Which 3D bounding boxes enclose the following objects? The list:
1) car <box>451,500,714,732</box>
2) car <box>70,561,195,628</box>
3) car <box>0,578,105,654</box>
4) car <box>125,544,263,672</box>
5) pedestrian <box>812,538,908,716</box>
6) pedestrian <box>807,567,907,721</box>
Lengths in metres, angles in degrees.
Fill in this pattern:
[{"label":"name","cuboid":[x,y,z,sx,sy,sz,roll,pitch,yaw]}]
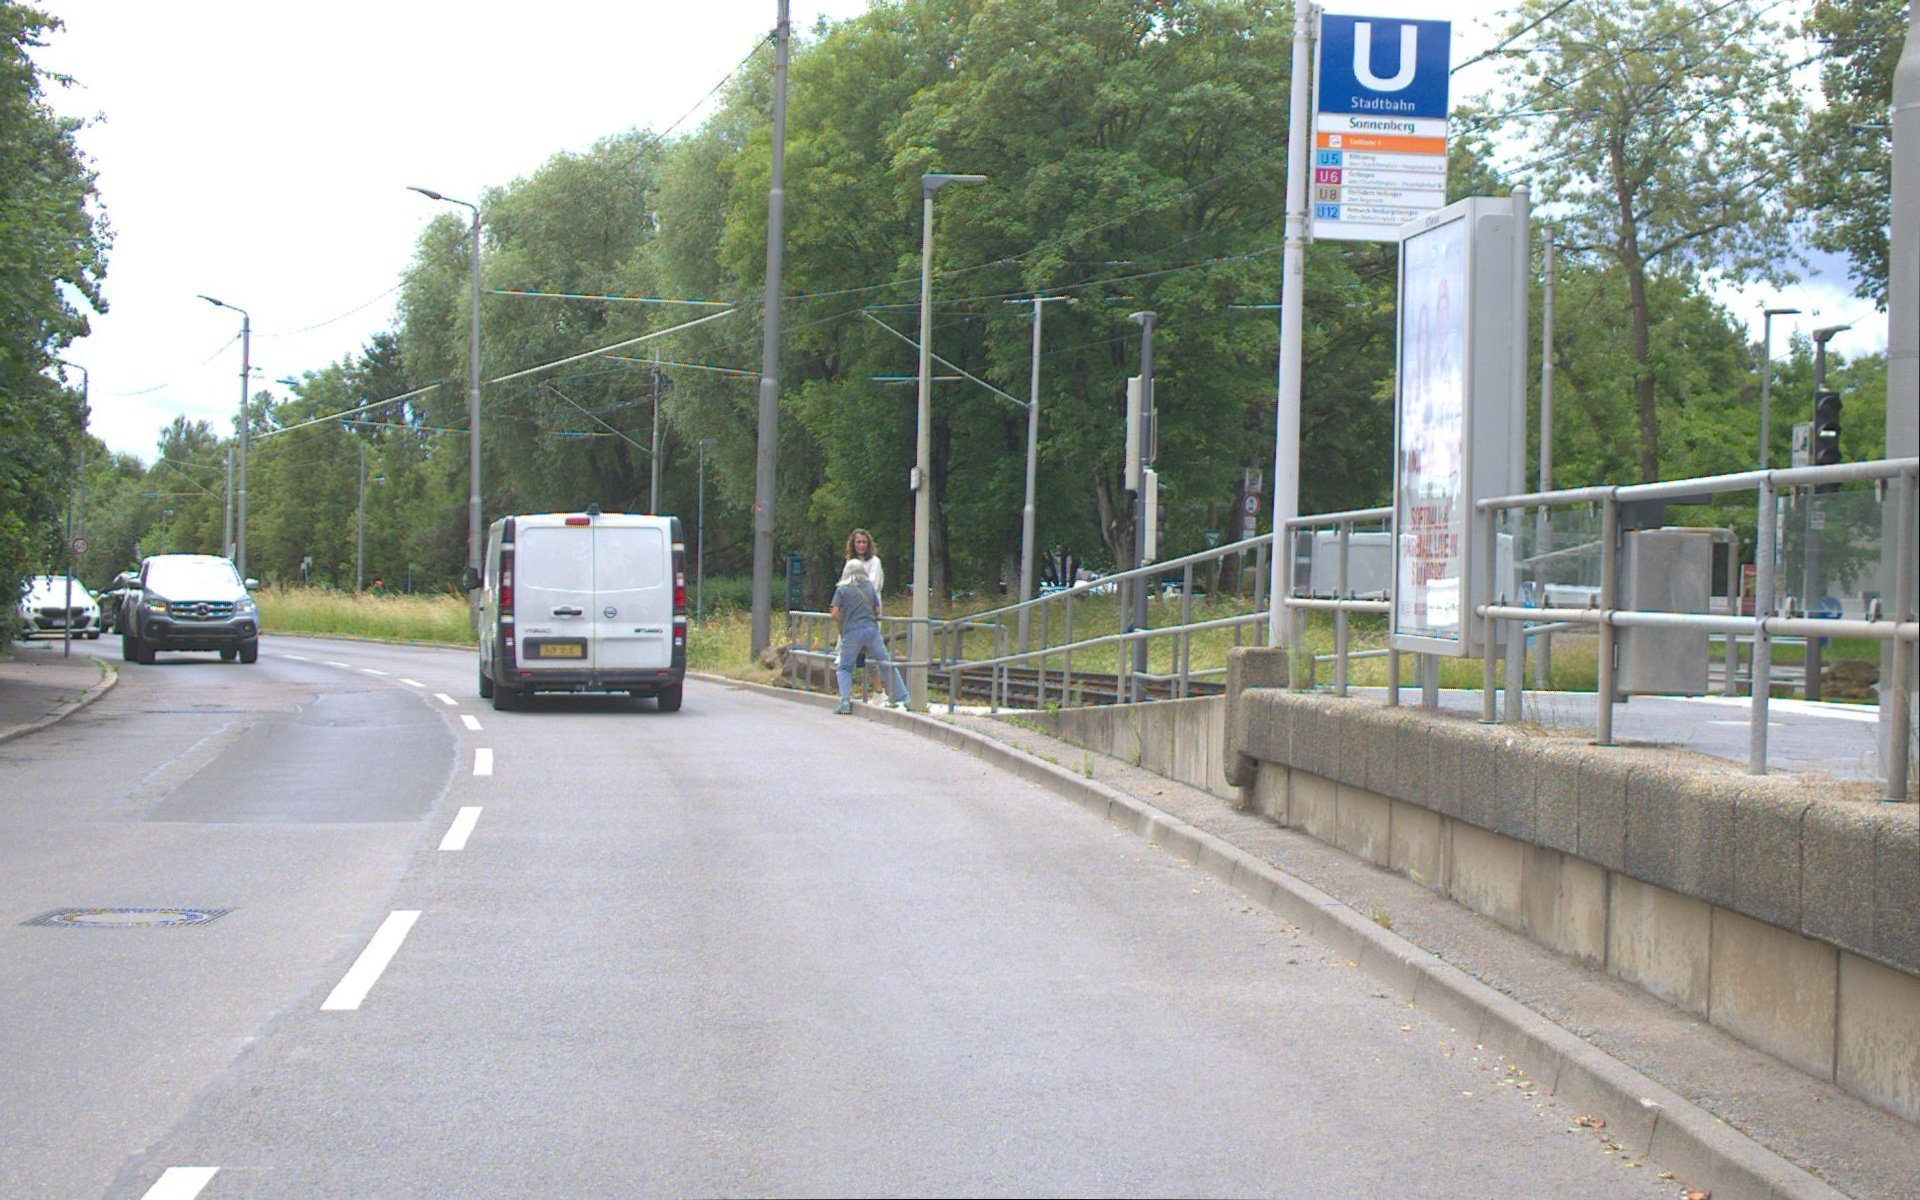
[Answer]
[{"label":"car","cuboid":[-3.983,0.132,35.408,2.116,2.127,5.442,2,0,-12]},{"label":"car","cuboid":[-21.727,-0.151,90.186,2.355,1.559,4.373,3,0,-24]},{"label":"car","cuboid":[-21.930,0.376,82.789,1.993,1.725,4.325,1,1,-22]},{"label":"car","cuboid":[-12.663,0.103,56.683,1.993,2.007,4.325,1,0,-15]},{"label":"pedestrian","cuboid":[-1.021,0.269,35.046,0.758,1.789,0.631,1,0,-27]},{"label":"pedestrian","cuboid":[-1.007,0.425,33.629,0.758,1.487,0.631,1,0,-27]}]
